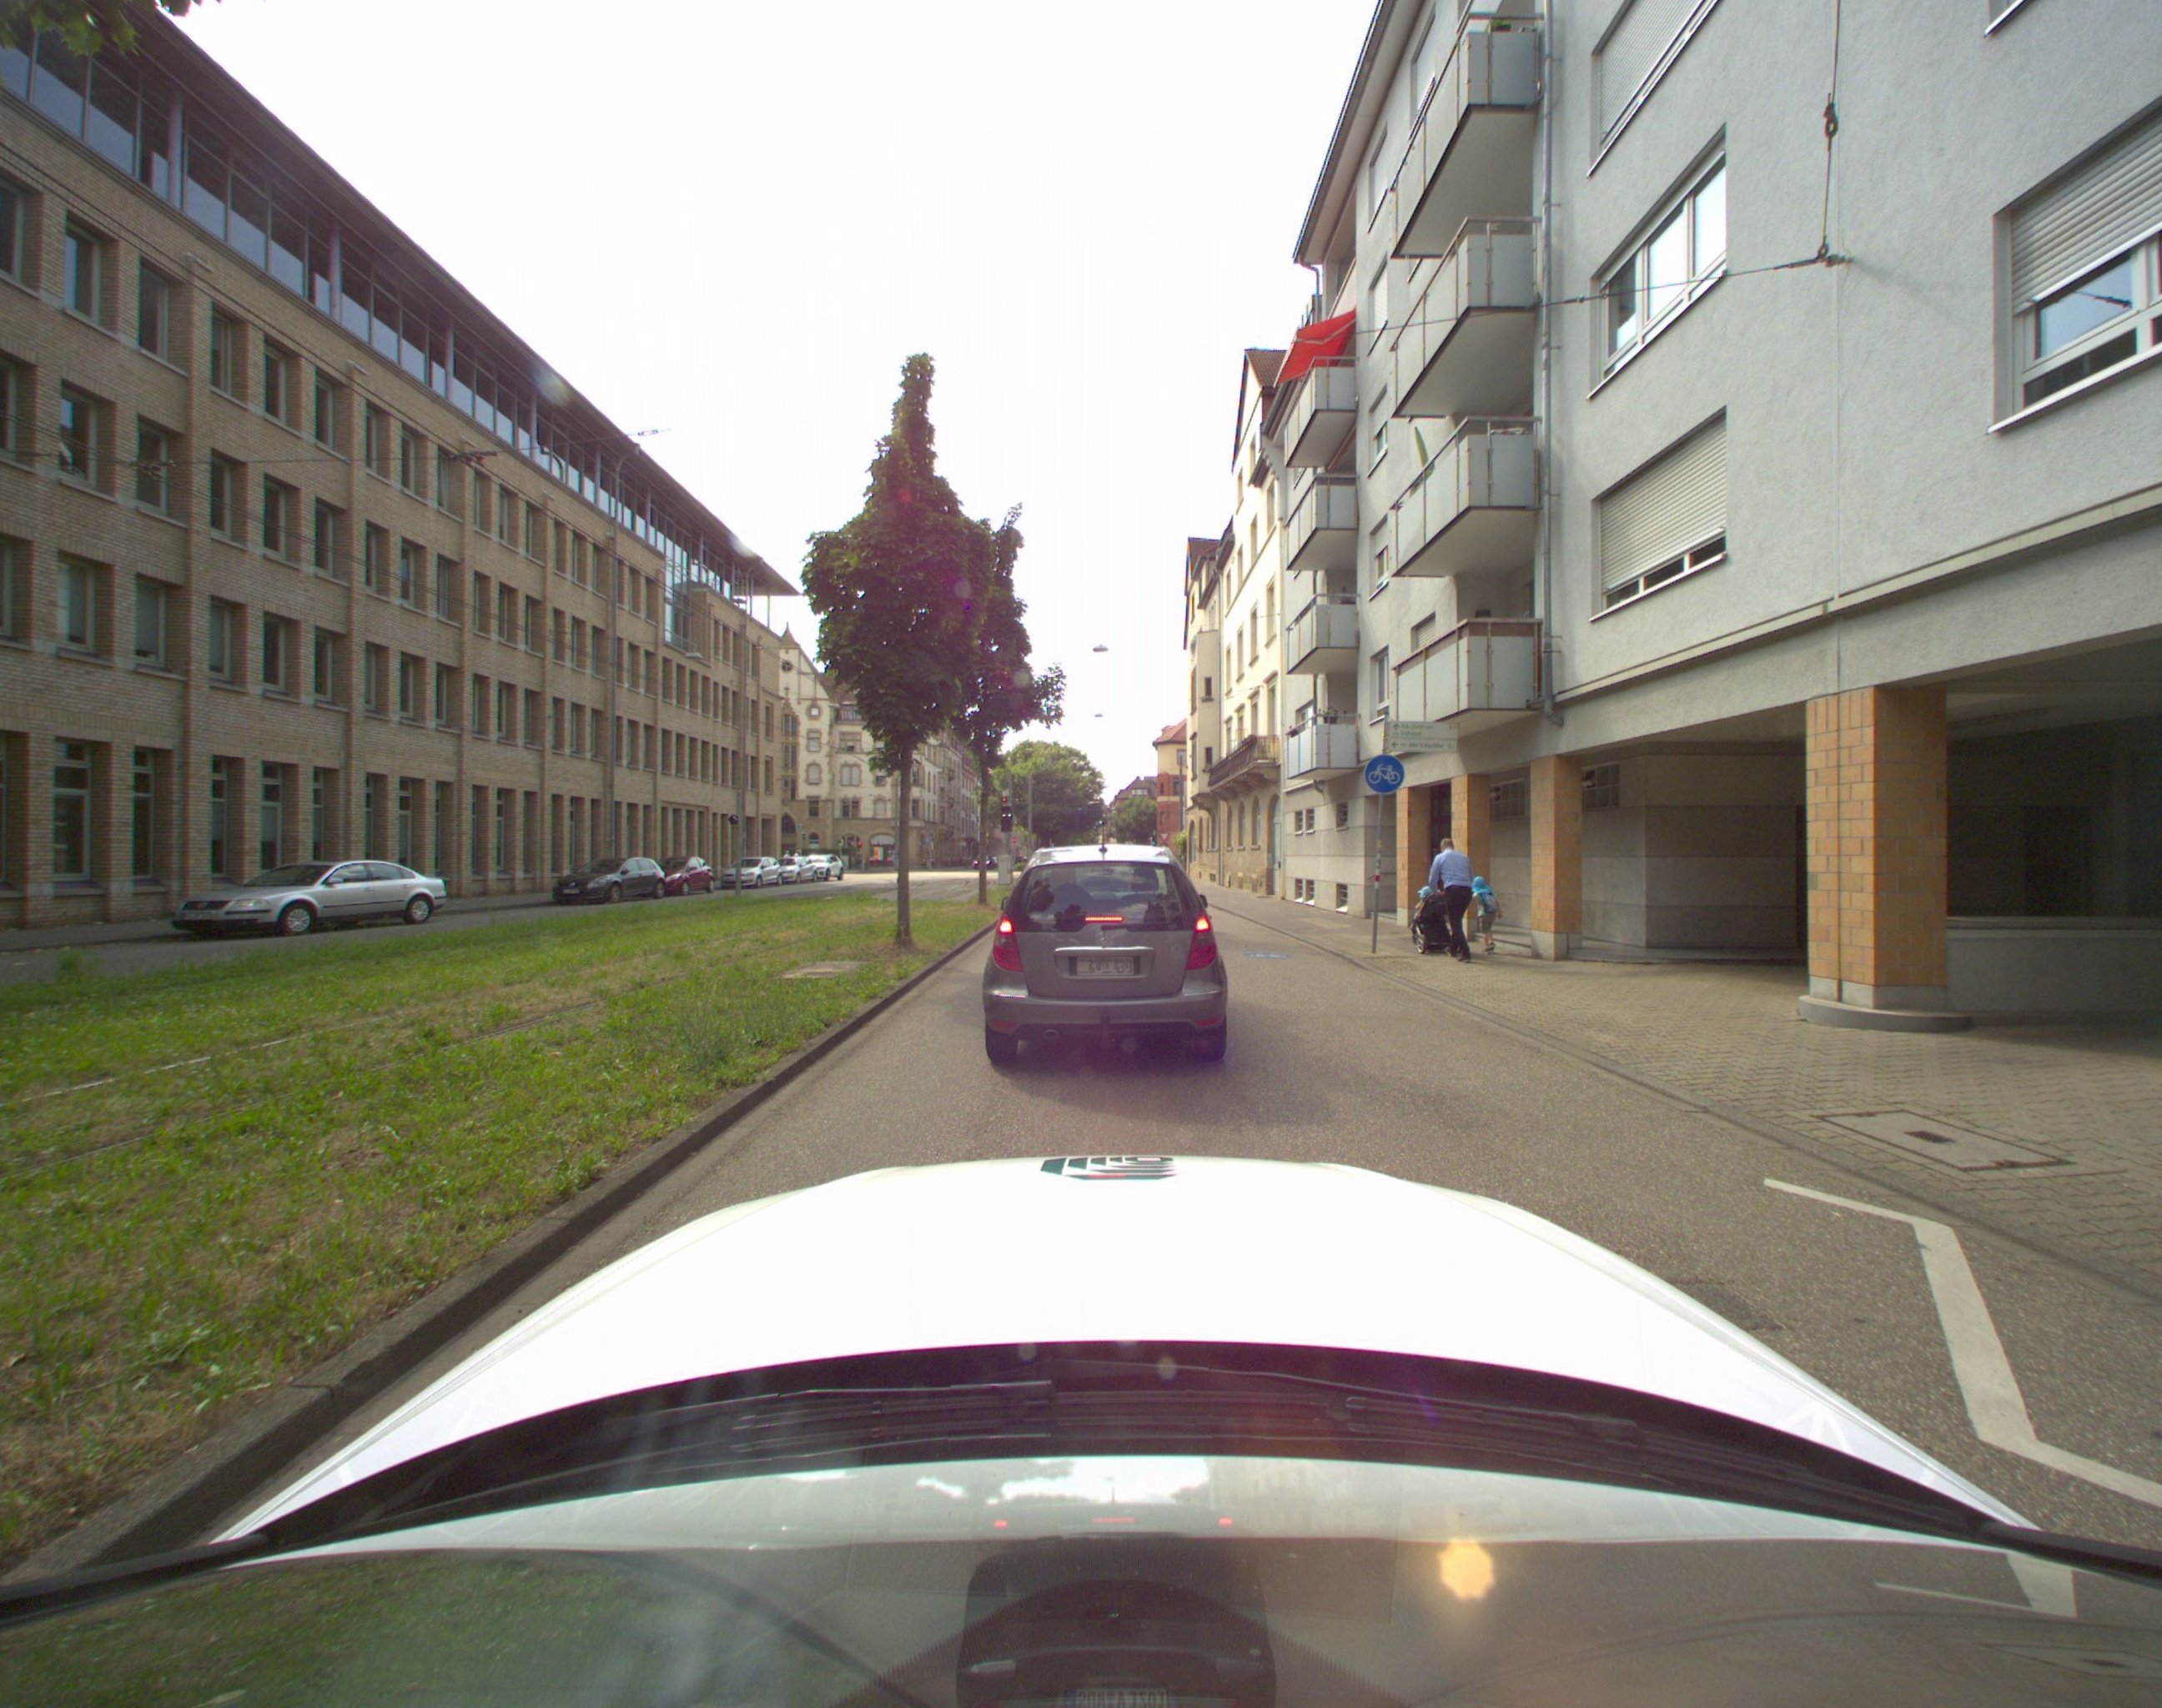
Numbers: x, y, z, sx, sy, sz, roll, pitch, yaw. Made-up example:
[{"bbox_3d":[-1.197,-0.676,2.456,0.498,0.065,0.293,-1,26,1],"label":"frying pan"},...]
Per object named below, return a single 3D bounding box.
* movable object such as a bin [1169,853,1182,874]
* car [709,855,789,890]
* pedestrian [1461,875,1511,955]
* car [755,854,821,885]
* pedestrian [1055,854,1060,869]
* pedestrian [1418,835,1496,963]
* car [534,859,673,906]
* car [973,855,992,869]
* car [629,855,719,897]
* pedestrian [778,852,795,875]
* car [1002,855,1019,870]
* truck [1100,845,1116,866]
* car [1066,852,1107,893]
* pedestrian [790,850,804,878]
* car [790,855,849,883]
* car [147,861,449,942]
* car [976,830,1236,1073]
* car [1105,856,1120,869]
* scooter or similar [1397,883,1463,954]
[{"bbox_3d":[6.924,0.700,59.601,0.714,1.472,0.980,-1,-1,-8],"label":"movable object such as a bin"},{"bbox_3d":[-15.273,0.816,37.731,1.844,1.530,4.212,0,0,2],"label":"car"},{"bbox_3d":[6.054,0.896,12.186,0.454,1.135,0.494,-3,0,1],"label":"pedestrian"},{"bbox_3d":[-15.383,0.793,43.027,1.925,1.530,4.016,0,0,2],"label":"car"},{"bbox_3d":[-2.700,0.880,93.608,0.492,1.725,0.652,0,-1,-8],"label":"pedestrian"},{"bbox_3d":[5.372,0.619,11.675,0.618,1.738,0.877,-4,0,2],"label":"pedestrian"},{"bbox_3d":[-15.396,0.873,26.575,1.925,1.396,4.241,0,0,2],"label":"car"},{"bbox_3d":[-11.619,0.948,96.168,1.990,1.618,3.994,-1,0,-4],"label":"car"},{"bbox_3d":[-15.461,0.804,31.140,1.577,1.530,3.551,0,0,2],"label":"car"},{"bbox_3d":[-22.268,0.705,61.585,1.029,1.722,0.767,1,-1,-43],"label":"pedestrian"},{"bbox_3d":[-8.441,0.967,97.631,1.990,1.728,3.994,-1,0,-4],"label":"car"},{"bbox_3d":[3.944,0.274,117.032,2.113,2.970,4.005,-1,0,5],"label":"truck"},{"bbox_3d":[0.278,0.798,36.191,1.716,1.706,3.678,-1,0,2],"label":"car"},{"bbox_3d":[-18.415,0.669,52.850,0.763,1.795,0.952,0,-1,-24],"label":"pedestrian"},{"bbox_3d":[-15.223,0.827,47.568,1.925,1.535,4.260,0,0,2],"label":"car"},{"bbox_3d":[-15.529,0.849,16.583,1.708,1.396,4.486,0,0,2],"label":"car"},{"bbox_3d":[0.226,0.662,7.278,1.716,1.605,3.678,-1,0,2],"label":"car"},{"bbox_3d":[3.985,1.075,104.078,1.744,1.633,3.504,0,0,5],"label":"car"},{"bbox_3d":[5.391,0.978,12.615,0.590,1.002,0.906,-4,0,2],"label":"scooter or similar"}]
